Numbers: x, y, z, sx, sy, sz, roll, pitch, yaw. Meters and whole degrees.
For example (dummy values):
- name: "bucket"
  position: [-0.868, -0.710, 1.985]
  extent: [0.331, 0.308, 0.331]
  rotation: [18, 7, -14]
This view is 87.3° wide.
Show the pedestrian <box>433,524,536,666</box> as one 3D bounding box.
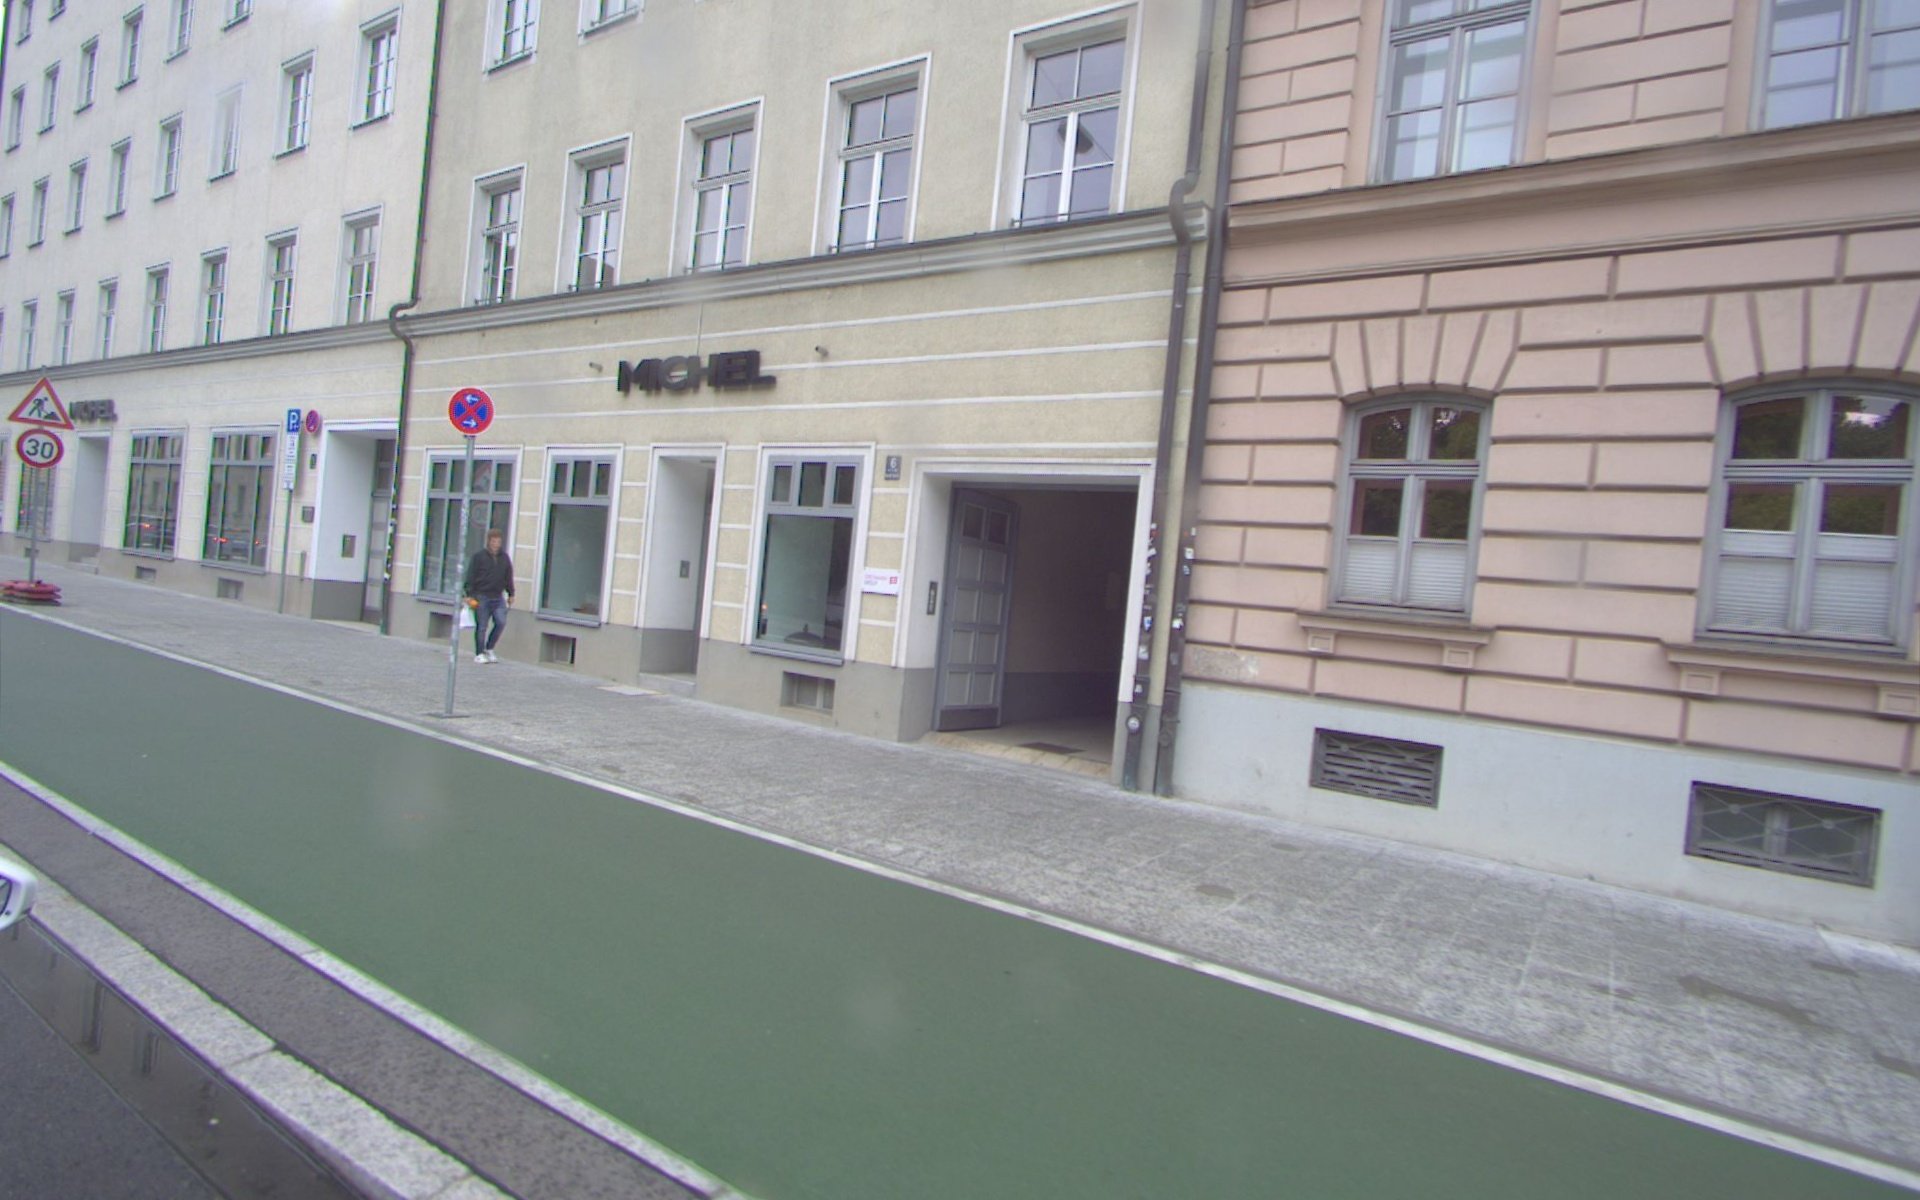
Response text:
- name: "pedestrian"
  position: [-6.311, -0.060, 13.355]
  extent: [0.820, 1.768, 0.794]
  rotation: [6, 1, 34]
